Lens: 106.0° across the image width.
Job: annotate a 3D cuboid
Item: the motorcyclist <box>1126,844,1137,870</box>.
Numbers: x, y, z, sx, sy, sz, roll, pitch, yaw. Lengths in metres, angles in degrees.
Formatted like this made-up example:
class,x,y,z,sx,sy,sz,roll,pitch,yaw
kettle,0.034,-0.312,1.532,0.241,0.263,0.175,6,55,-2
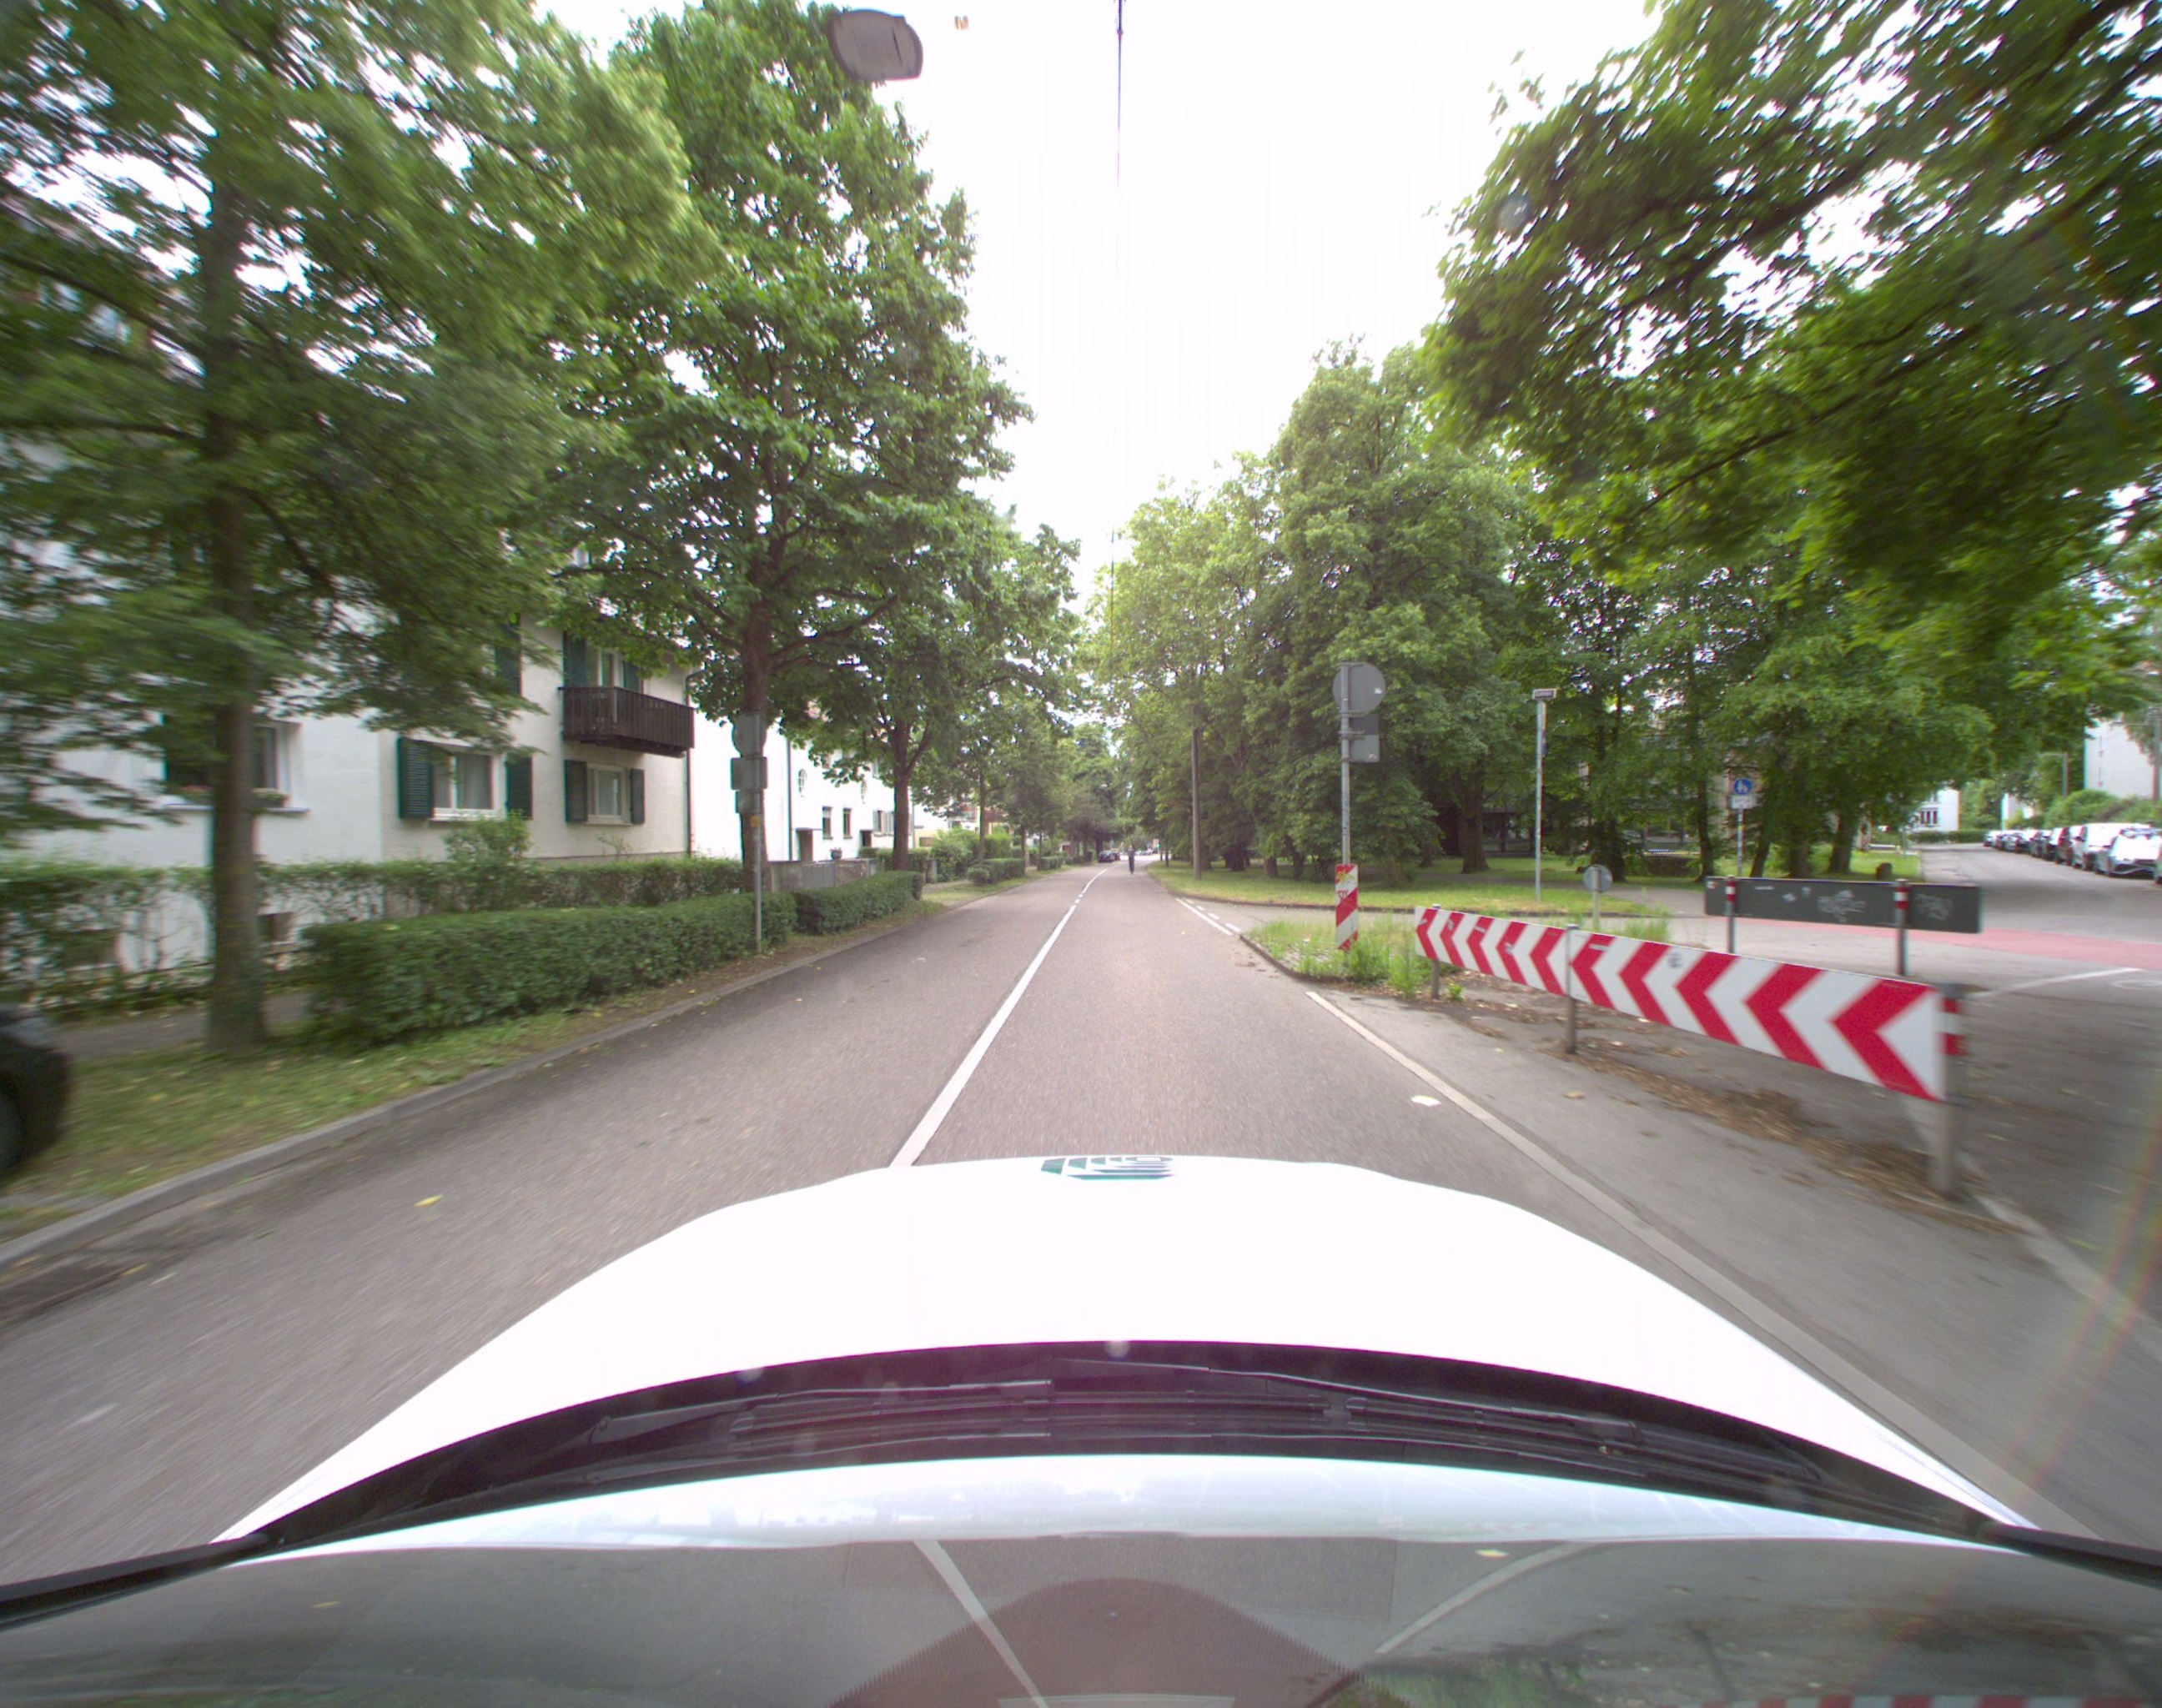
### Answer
class,x,y,z,sx,sy,sz,roll,pitch,yaw
motorcyclist,3.355,0.209,54.410,0.669,1.761,0.640,0,0,6

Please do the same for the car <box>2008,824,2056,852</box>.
class,x,y,z,sx,sy,sz,roll,pitch,yaw
car,62.663,-1.057,53.701,4.023,1.812,1.778,-2,1,-45

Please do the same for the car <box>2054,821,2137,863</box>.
class,x,y,z,sx,sy,sz,roll,pitch,yaw
car,42.872,-0.523,34.492,4.023,1.674,1.778,-2,1,-45

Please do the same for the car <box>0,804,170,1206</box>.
class,x,y,z,sx,sy,sz,roll,pitch,yaw
car,-5.595,0.671,1.962,1.819,1.754,4.451,0,0,-1

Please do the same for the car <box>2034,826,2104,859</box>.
class,x,y,z,sx,sy,sz,roll,pitch,yaw
car,47.319,-0.575,39.076,4.023,1.510,1.778,-2,1,-45

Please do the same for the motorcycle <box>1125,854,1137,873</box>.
class,x,y,z,sx,sy,sz,roll,pitch,yaw
motorcycle,3.324,0.643,54.171,0.669,1.217,1.276,0,0,6

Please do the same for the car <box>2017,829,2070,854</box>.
class,x,y,z,sx,sy,sz,roll,pitch,yaw
car,58.842,-0.778,49.850,4.023,1.510,1.778,-2,1,-45

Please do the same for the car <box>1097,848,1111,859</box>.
class,x,y,z,sx,sy,sz,roll,pitch,yaw
car,3.097,-0.046,109.381,1.787,1.472,4.421,-2,0,3

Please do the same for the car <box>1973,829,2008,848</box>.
class,x,y,z,sx,sy,sz,roll,pitch,yaw
car,78.596,-1.344,70.423,4.023,1.510,1.778,-2,1,-45

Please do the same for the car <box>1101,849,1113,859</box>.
class,x,y,z,sx,sy,sz,roll,pitch,yaw
car,3.675,-0.041,114.556,1.657,1.391,3.710,-2,0,3

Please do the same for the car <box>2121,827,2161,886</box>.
class,x,y,z,sx,sy,sz,roll,pitch,yaw
car,29.786,0.022,21.874,1.778,1.510,4.024,0,1,45

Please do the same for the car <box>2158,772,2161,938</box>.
class,x,y,z,sx,sy,sz,roll,pitch,yaw
car,17.792,-0.034,11.672,5.343,2.299,2.270,-1,1,-31

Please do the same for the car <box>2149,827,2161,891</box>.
class,x,y,z,sx,sy,sz,roll,pitch,yaw
car,26.079,0.122,18.495,4.629,1.510,1.778,-1,1,-43

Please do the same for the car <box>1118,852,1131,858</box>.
class,x,y,z,sx,sy,sz,roll,pitch,yaw
car,13.202,0.300,248.838,3.971,1.510,1.801,-2,0,2

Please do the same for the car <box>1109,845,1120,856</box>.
class,x,y,z,sx,sy,sz,roll,pitch,yaw
car,6.202,-0.653,151.263,1.851,1.964,4.503,-2,-1,0

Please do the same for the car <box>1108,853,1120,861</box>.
class,x,y,z,sx,sy,sz,roll,pitch,yaw
car,5.698,0.532,140.500,1.882,1.410,4.561,-2,-1,6

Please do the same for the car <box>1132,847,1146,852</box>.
class,x,y,z,sx,sy,sz,roll,pitch,yaw
car,16.633,-1.275,233.717,3.971,1.510,1.801,-2,0,2

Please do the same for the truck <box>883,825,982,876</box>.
class,x,y,z,sx,sy,sz,roll,pitch,yaw
truck,-9.494,-0.216,52.384,5.774,3.131,2.519,0,0,2

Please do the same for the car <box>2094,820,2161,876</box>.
class,x,y,z,sx,sy,sz,roll,pitch,yaw
car,33.991,-0.214,25.916,4.023,1.674,1.778,-2,1,-45

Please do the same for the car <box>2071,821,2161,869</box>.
class,x,y,z,sx,sy,sz,roll,pitch,yaw
car,38.375,-0.358,30.181,4.023,1.674,1.778,-2,1,-45
